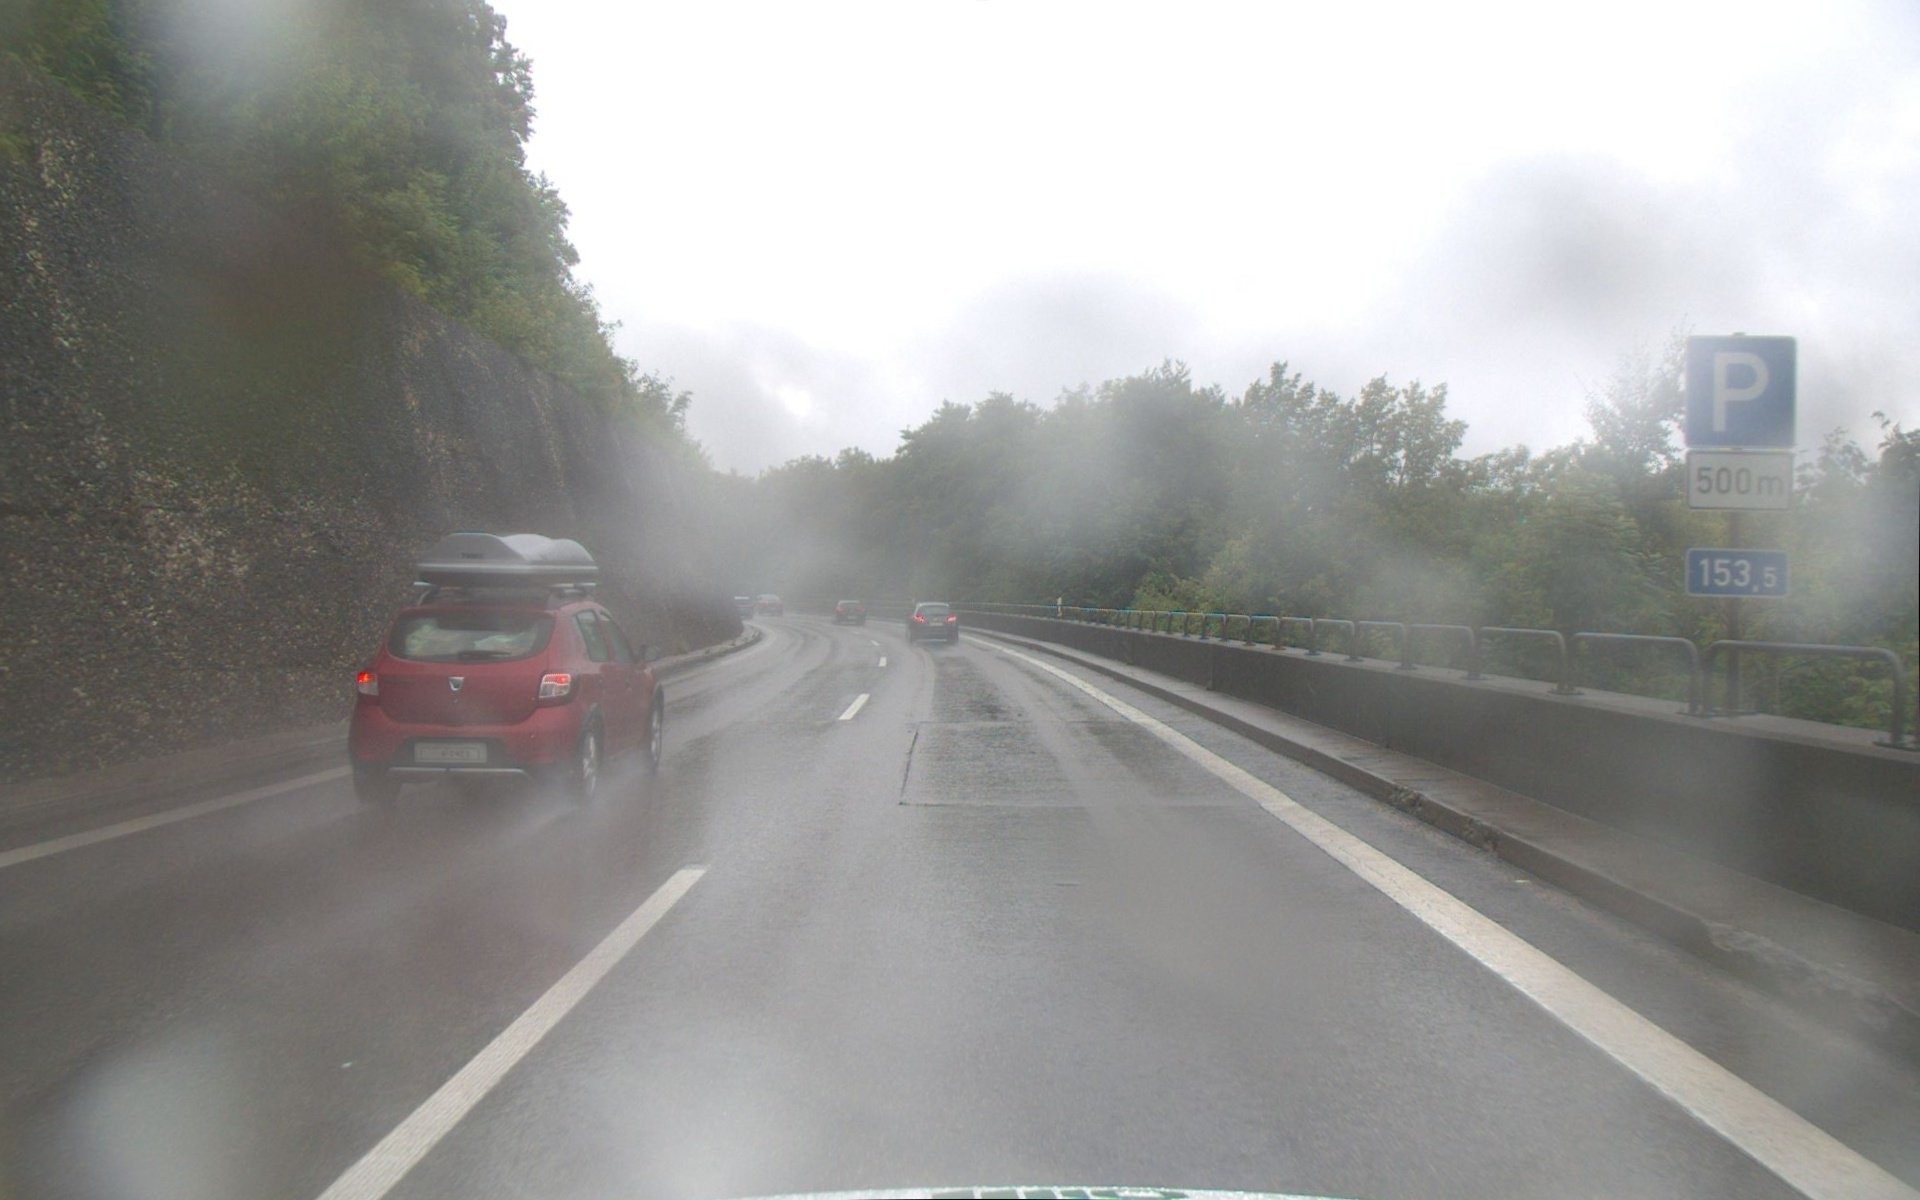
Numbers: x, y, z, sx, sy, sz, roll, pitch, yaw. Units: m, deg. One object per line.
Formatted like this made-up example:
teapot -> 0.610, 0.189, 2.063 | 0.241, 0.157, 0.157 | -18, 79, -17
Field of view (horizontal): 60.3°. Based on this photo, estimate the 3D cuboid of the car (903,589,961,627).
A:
car -> -1.051, 0.276, 60.120 | 1.765, 1.330, 3.995 | 0, 0, -6

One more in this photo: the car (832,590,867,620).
car -> -6.723, 0.299, 100.133 | 1.955, 1.780, 3.994 | 0, -1, -6

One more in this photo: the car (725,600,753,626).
car -> -16.599, 0.988, 124.290 | 1.955, 1.937, 3.994 | 0, -1, -7

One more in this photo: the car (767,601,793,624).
car -> -16.445, 1.117, 151.060 | 1.958, 2.049, 3.988 | 0, -1, -12

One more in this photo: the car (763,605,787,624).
car -> -15.161, 1.181, 135.344 | 1.768, 1.492, 3.990 | 0, 0, -10

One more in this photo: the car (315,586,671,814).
car -> -3.611, 0.697, 13.573 | 1.954, 1.579, 3.998 | 0, 0, -3
